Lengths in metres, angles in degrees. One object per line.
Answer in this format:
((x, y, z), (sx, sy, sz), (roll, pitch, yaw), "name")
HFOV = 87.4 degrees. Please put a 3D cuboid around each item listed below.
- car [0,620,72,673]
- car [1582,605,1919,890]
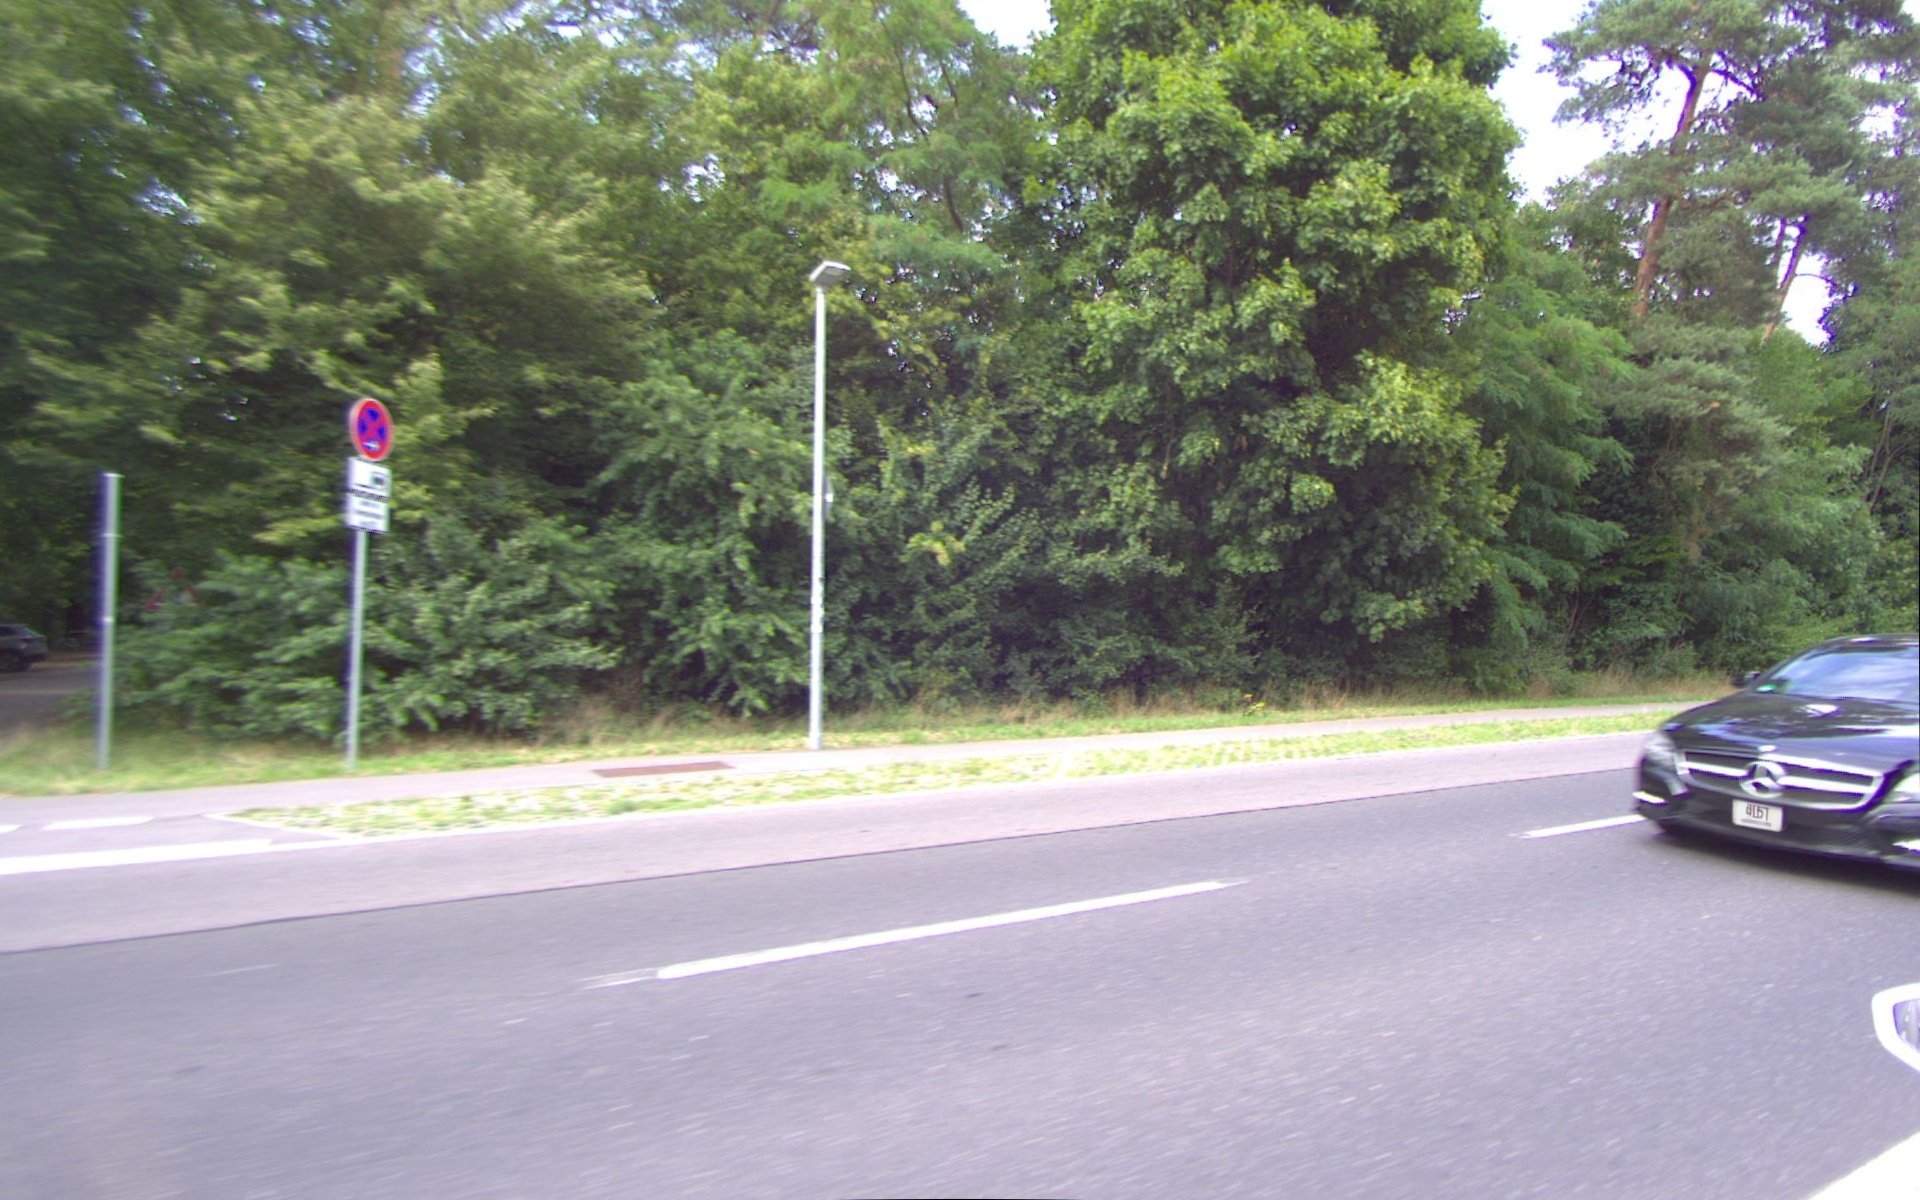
((-31.848, 1.484, 32.521), (4.501, 1.607, 1.977), (2, 1, -39), "car")
((6.697, 0.838, 6.961), (4.662, 1.454, 1.985), (2, 0, -28), "car")
